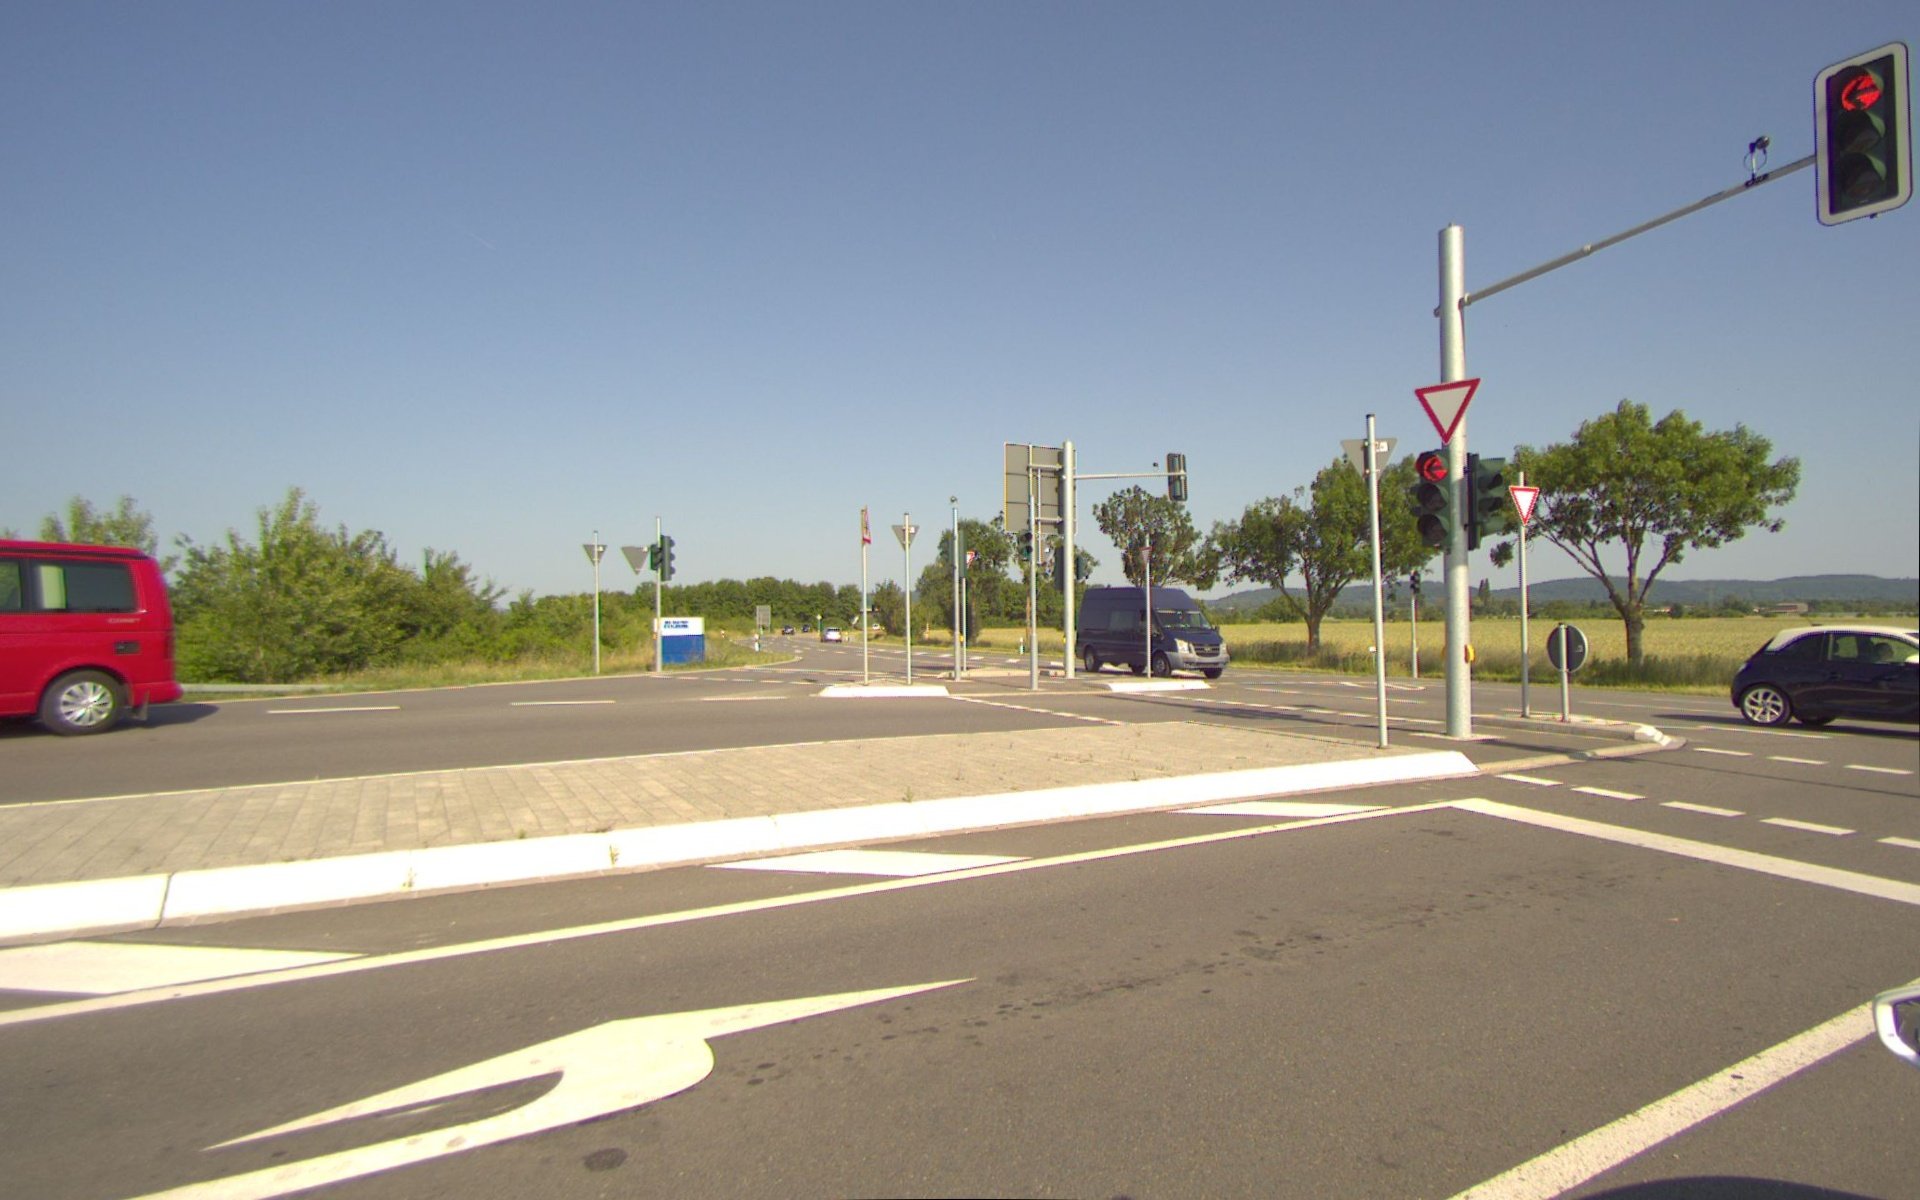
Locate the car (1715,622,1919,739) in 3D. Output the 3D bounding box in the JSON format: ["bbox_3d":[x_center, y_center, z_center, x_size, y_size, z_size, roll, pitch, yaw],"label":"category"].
[{"bbox_3d":[12.755,1.039,13.566,1.707,1.476,3.712,0,-2,-28],"label":"car"}]

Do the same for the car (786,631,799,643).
[{"bbox_3d":[-27.089,5.887,162.148,1.964,1.746,4.610,2,0,-9],"label":"car"}]

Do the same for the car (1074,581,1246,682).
[{"bbox_3d":[5.645,0.890,29.302,2.005,2.657,5.716,0,-1,-24],"label":"car"}]

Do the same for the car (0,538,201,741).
[{"bbox_3d":[-10.454,0.350,9.492,1.805,1.966,4.920,1,-1,27],"label":"car"}]
